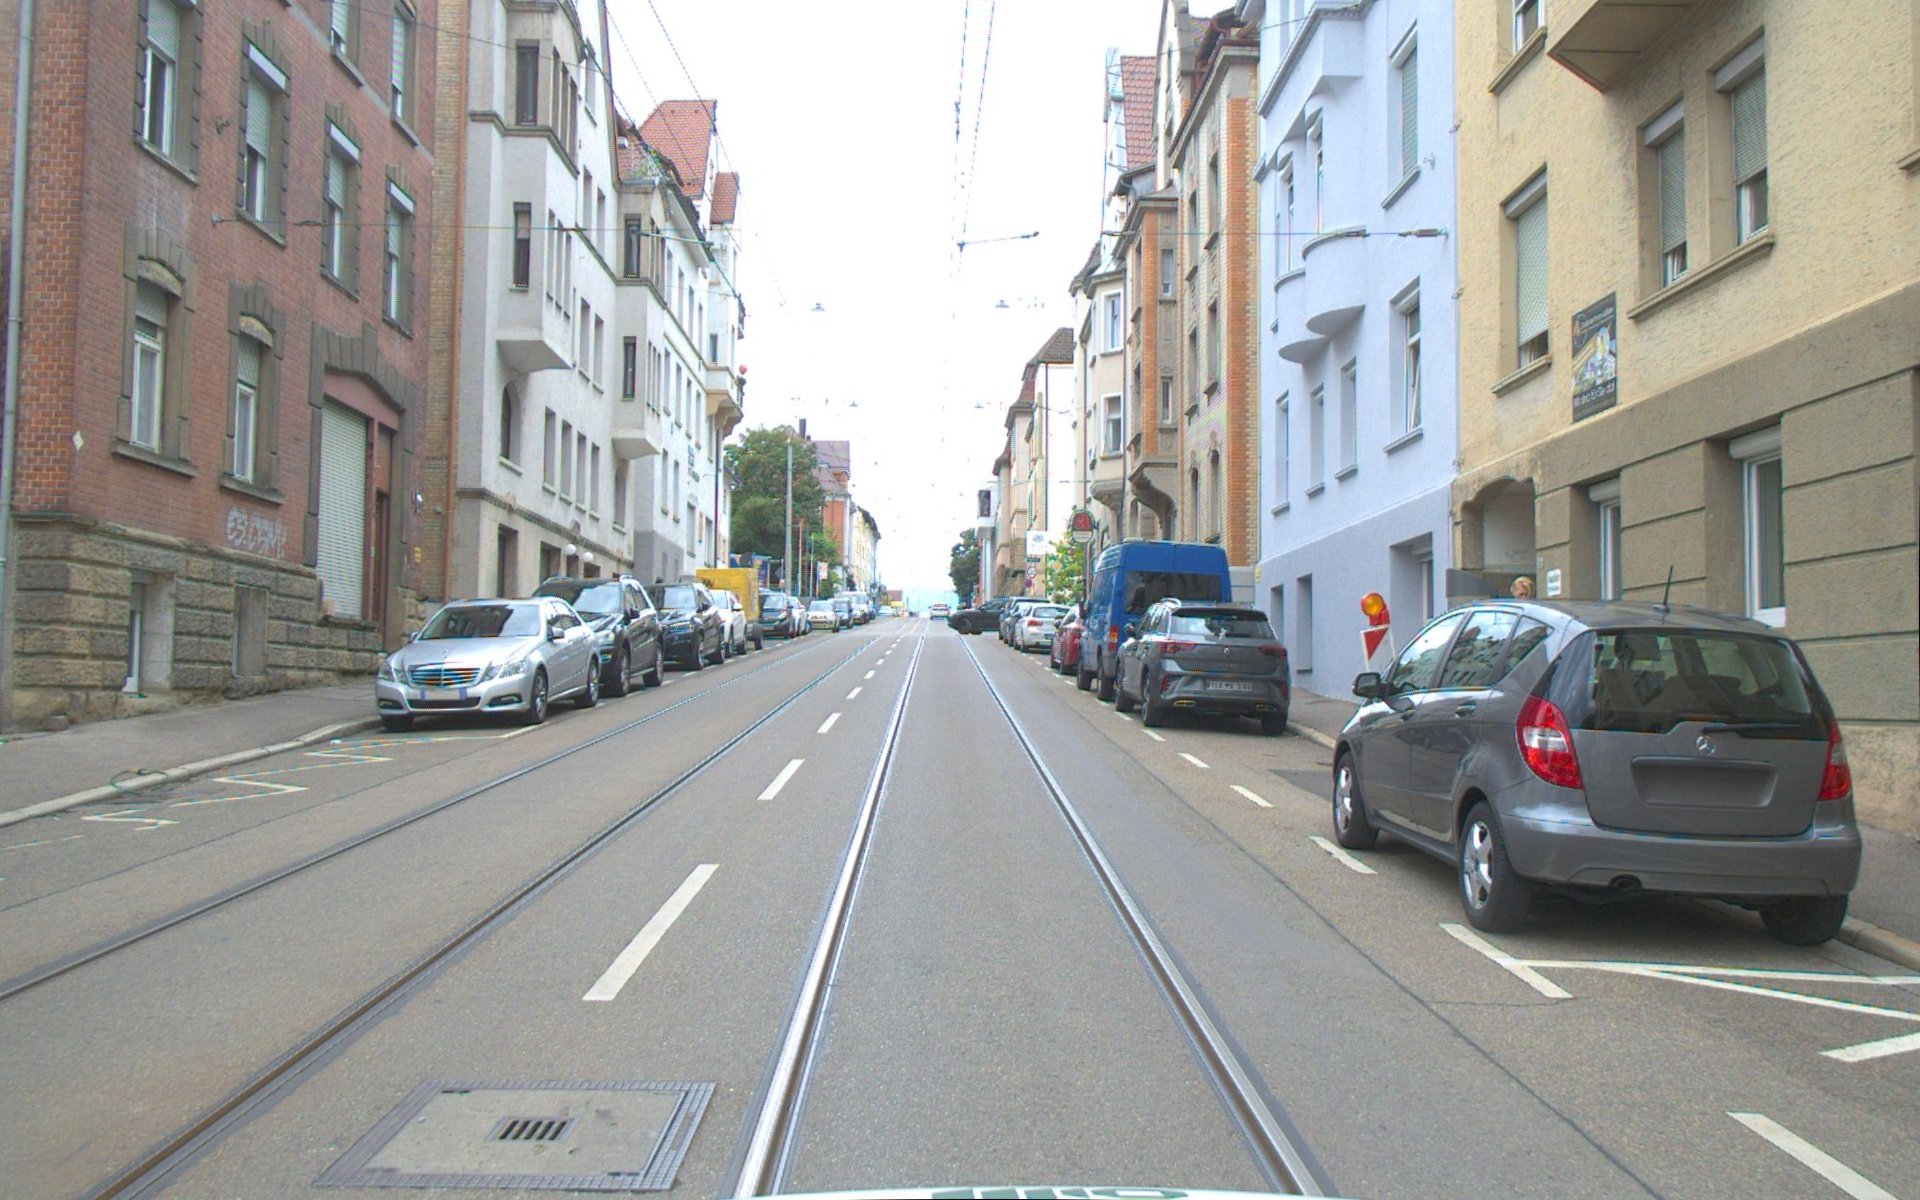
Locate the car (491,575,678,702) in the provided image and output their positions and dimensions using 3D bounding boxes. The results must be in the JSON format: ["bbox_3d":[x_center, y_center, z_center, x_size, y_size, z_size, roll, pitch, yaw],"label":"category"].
[{"bbox_3d":[-5.748,0.527,25.954,1.790,1.748,4.913,-2,0,0],"label":"car"}]

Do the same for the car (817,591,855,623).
[{"bbox_3d":[-7.099,0.412,94.978,1.708,1.766,4.519,-1,0,1],"label":"car"}]

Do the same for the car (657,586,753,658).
[{"bbox_3d":[-6.148,0.490,40.304,1.662,1.621,4.268,-2,0,0],"label":"car"}]

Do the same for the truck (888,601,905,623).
[{"bbox_3d":[-9.252,1.736,241.140,2.255,3.090,9.031,1,-1,-1],"label":"truck"}]

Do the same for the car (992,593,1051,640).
[{"bbox_3d":[2.201,0.584,60.212,1.700,1.564,4.571,3,0,-3],"label":"car"}]

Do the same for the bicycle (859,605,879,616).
[{"bbox_3d":[-8.702,0.989,158.569,1.872,1.017,0.479,1,0,-1],"label":"bicycle"}]

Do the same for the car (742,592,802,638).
[{"bbox_3d":[-6.358,0.503,56.129,1.662,1.494,3.023,-2,0,0],"label":"car"}]

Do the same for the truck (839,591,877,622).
[{"bbox_3d":[-7.489,0.476,121.899,2.233,2.226,8.024,1,0,0],"label":"truck"}]

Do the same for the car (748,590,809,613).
[{"bbox_3d":[-12.366,0.122,113.082,3.978,1.470,1.687,1,0,-2],"label":"car"}]

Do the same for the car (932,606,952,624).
[{"bbox_3d":[-1.612,1.297,147.554,1.638,1.539,3.796,0,0,-2],"label":"car"}]

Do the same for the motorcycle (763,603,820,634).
[{"bbox_3d":[-6.546,0.730,64.319,2.063,1.154,0.767,-1,0,13],"label":"motorcycle"}]

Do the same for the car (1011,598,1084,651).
[{"bbox_3d":[2.513,0.700,48.609,1.715,1.415,4.306,3,0,-2],"label":"car"}]

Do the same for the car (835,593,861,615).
[{"bbox_3d":[-7.673,0.257,113.544,1.663,1.458,4.479,-1,0,-2],"label":"car"}]

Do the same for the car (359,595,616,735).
[{"bbox_3d":[-5.687,0.706,20.566,1.790,1.454,4.839,-2,0,0],"label":"car"}]

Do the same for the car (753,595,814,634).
[{"bbox_3d":[-6.514,0.512,61.366,1.743,1.381,4.291,1,0,0],"label":"car"}]

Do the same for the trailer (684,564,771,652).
[{"bbox_3d":[-6.202,0.186,44.472,1.713,2.193,4.071,-2,0,0],"label":"trailer"}]

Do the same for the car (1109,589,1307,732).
[{"bbox_3d":[3.105,0.715,21.523,1.744,1.557,4.191,4,0,-2],"label":"car"}]

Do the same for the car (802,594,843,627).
[{"bbox_3d":[-6.951,0.515,83.911,1.662,1.583,3.850,1,0,1],"label":"car"}]

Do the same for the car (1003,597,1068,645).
[{"bbox_3d":[2.462,0.672,54.950,1.744,1.415,4.690,3,0,-2],"label":"car"}]

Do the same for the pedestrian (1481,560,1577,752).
[{"bbox_3d":[5.235,0.516,15.242,0.530,1.711,0.515,-4,-2,-9],"label":"pedestrian"}]

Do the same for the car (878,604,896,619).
[{"bbox_3d":[-8.294,1.324,188.248,1.817,1.635,4.296,1,0,-1],"label":"car"}]

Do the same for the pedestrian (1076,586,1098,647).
[{"bbox_3d":[3.856,0.503,50.294,0.587,1.834,0.631,1,-1,-1],"label":"pedestrian"}]

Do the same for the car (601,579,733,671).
[{"bbox_3d":[-5.930,0.455,34.009,1.835,1.693,4.891,-2,0,0],"label":"car"}]

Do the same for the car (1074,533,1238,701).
[{"bbox_3d":[3.047,0.271,26.733,1.953,2.418,5.055,1,-1,-1],"label":"car"}]

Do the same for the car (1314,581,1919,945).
[{"bbox_3d":[3.384,0.716,9.416,1.790,1.545,4.027,3,0,0],"label":"car"}]

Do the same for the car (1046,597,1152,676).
[{"bbox_3d":[2.916,0.734,35.509,1.744,1.501,4.588,3,0,-1],"label":"car"}]
